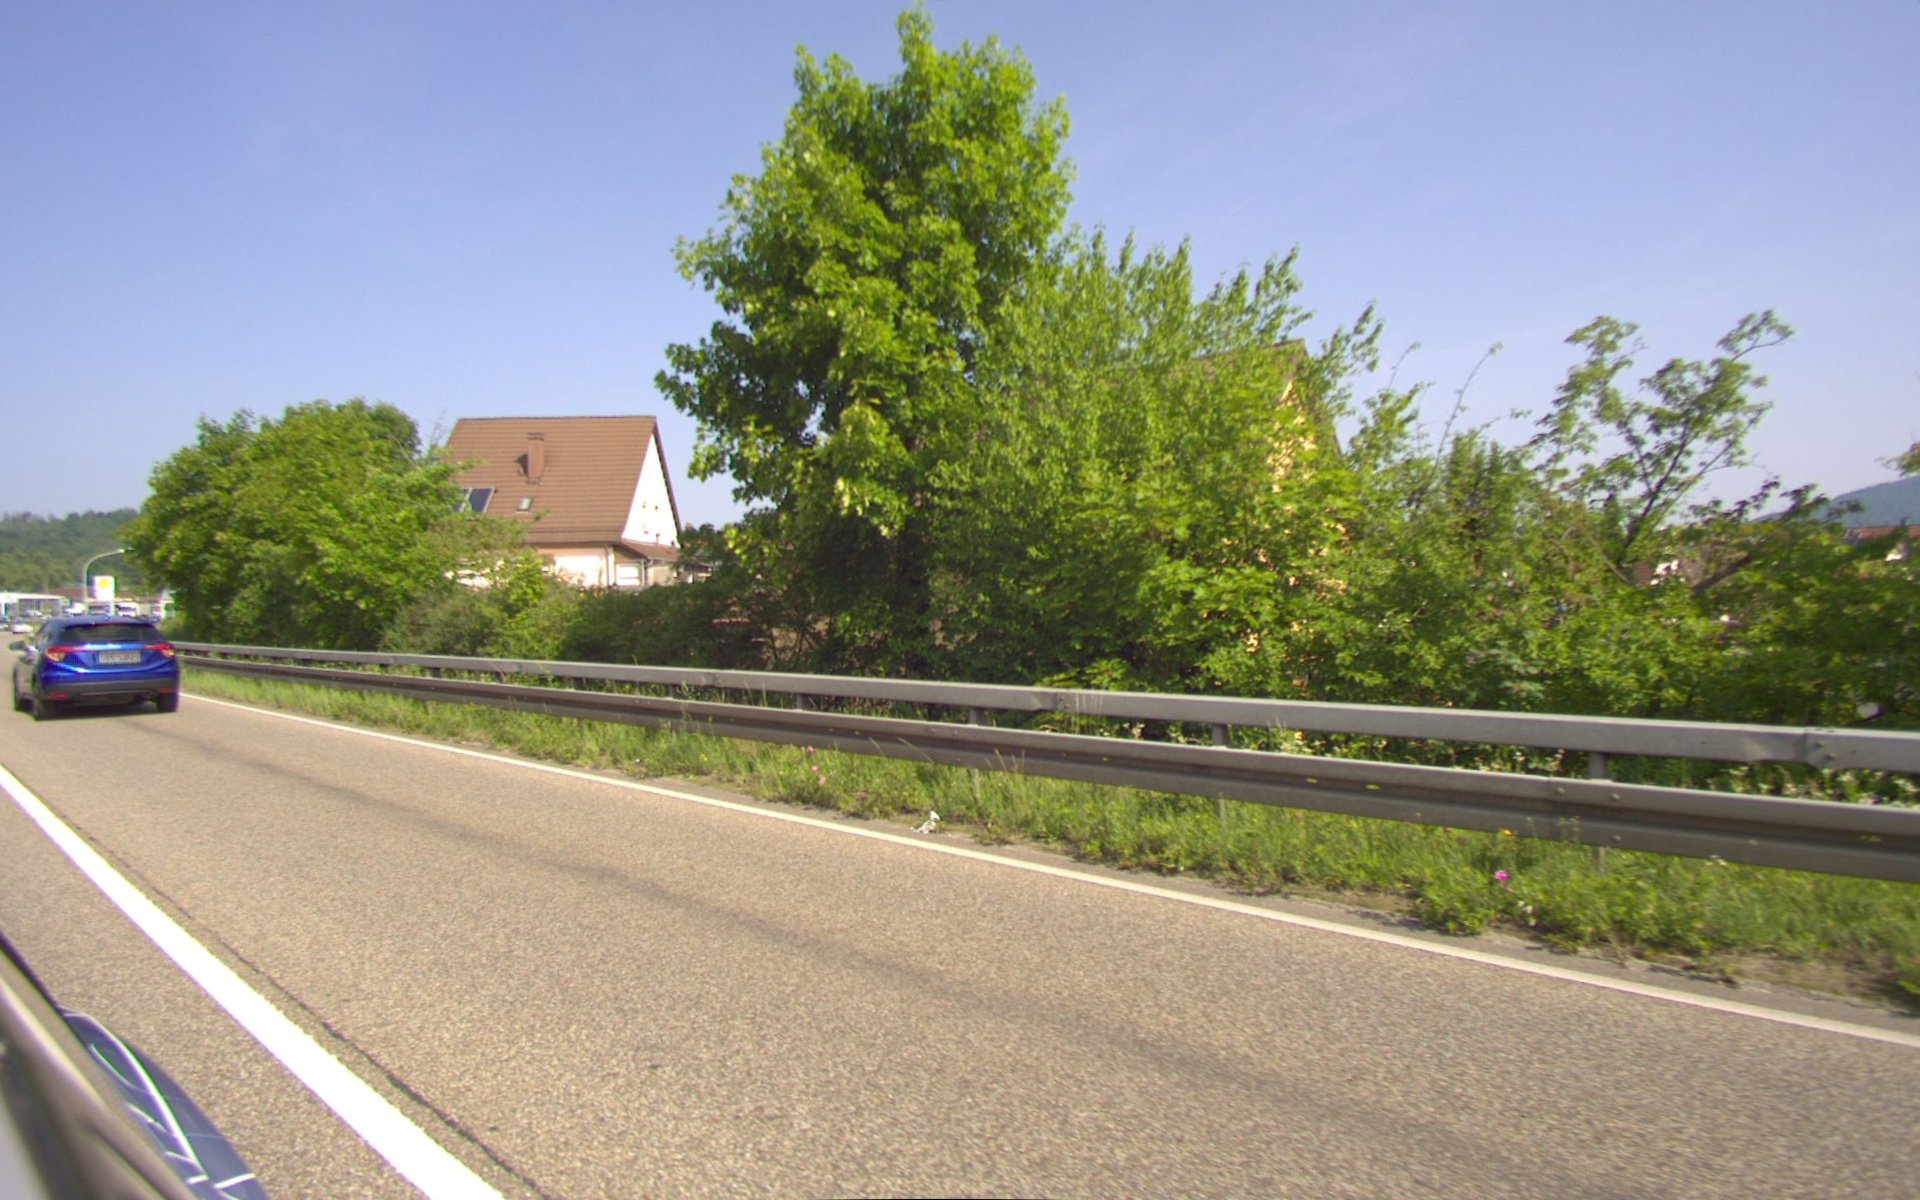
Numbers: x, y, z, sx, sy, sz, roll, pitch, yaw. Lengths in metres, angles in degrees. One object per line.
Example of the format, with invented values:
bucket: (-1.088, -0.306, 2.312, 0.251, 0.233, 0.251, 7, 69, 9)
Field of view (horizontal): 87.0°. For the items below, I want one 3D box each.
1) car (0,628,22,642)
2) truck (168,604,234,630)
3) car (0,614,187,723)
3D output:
car: (-100.962, 3.678, 107.532, 1.738, 1.421, 3.992, 2, -2, -45)
truck: (-110.186, 2.448, 147.133, 2.772, 3.583, 8.198, -2, 0, 6)
car: (-14.341, 1.024, 16.653, 3.990, 1.572, 1.789, -1, -2, 41)
